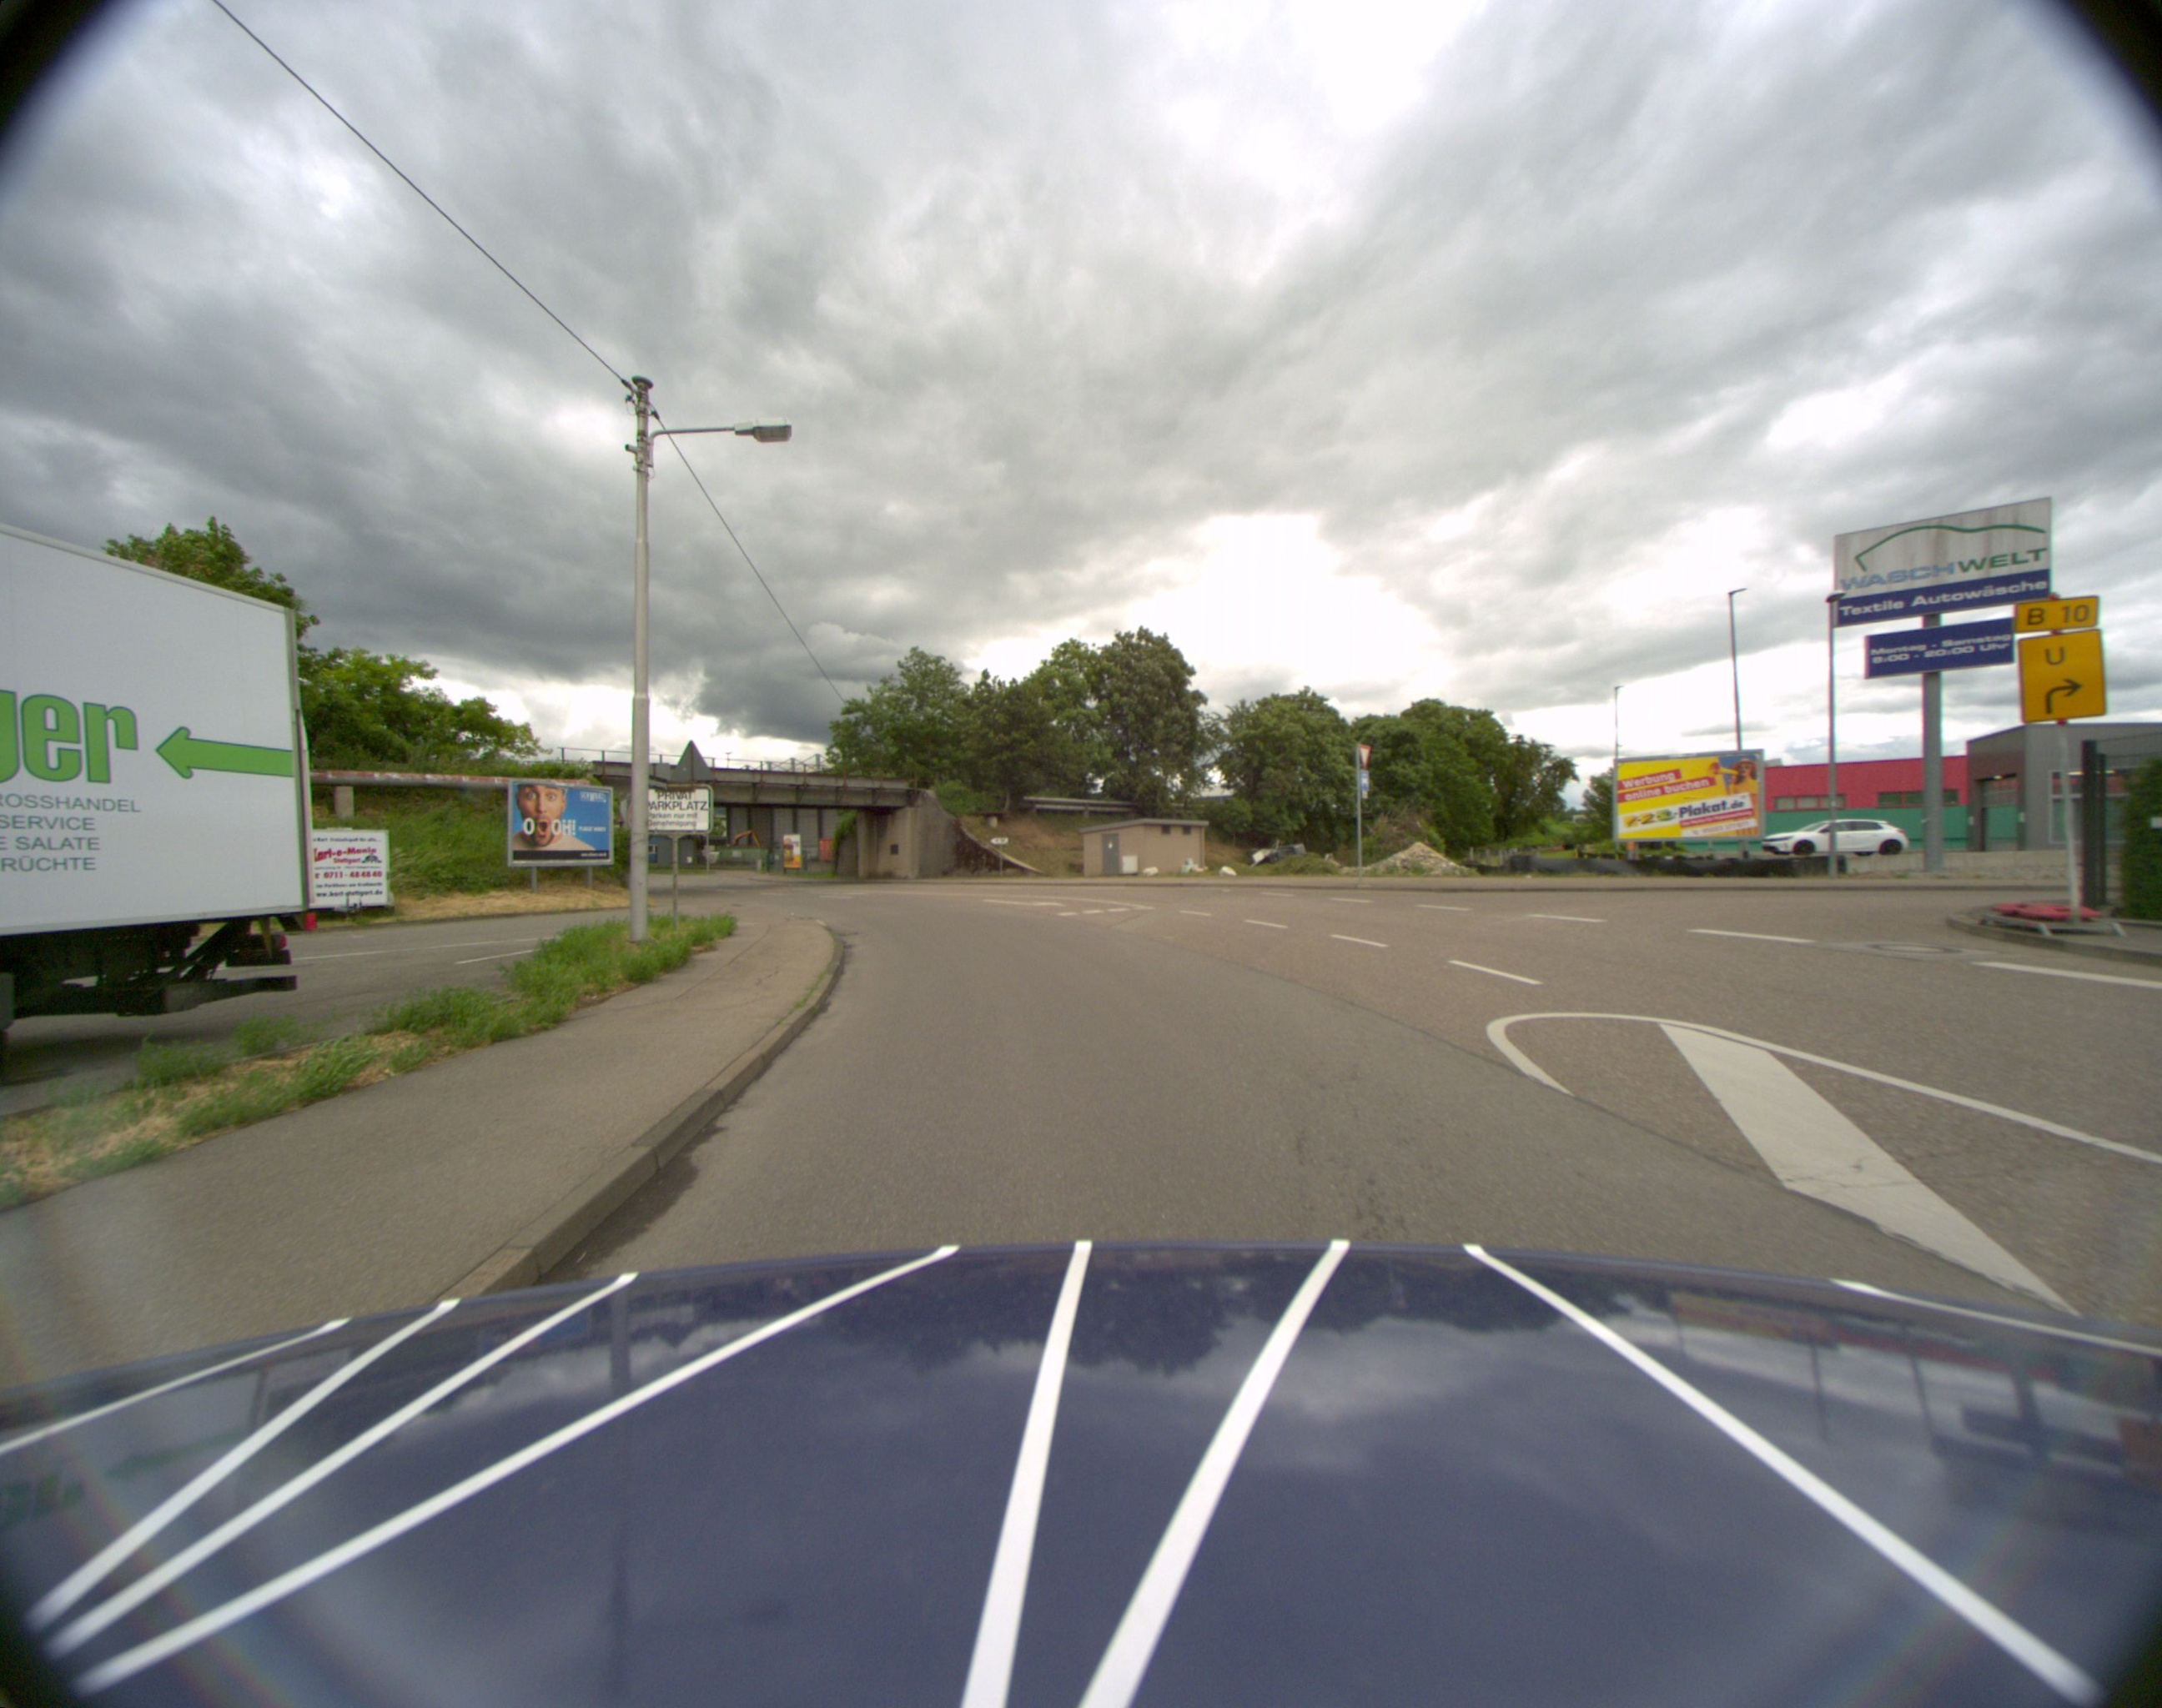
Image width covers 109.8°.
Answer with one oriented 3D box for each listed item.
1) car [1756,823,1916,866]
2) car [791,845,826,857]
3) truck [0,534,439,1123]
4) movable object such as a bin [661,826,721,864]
[{"bbox_3d":[29.576,-0.362,29.922,3.991,1.526,2.003,-1,1,19],"label":"car"},{"bbox_3d":[-31.359,-0.362,87.420,3.988,1.366,1.741,0,1,36],"label":"car"},{"bbox_3d":[-8.184,-0.101,3.372,3.070,3.610,8.604,-2,1,1],"label":"truck"},{"bbox_3d":[-44.168,-0.937,86.026,6.535,4.067,2.739,-1,0,29],"label":"movable object such as a bin"}]
